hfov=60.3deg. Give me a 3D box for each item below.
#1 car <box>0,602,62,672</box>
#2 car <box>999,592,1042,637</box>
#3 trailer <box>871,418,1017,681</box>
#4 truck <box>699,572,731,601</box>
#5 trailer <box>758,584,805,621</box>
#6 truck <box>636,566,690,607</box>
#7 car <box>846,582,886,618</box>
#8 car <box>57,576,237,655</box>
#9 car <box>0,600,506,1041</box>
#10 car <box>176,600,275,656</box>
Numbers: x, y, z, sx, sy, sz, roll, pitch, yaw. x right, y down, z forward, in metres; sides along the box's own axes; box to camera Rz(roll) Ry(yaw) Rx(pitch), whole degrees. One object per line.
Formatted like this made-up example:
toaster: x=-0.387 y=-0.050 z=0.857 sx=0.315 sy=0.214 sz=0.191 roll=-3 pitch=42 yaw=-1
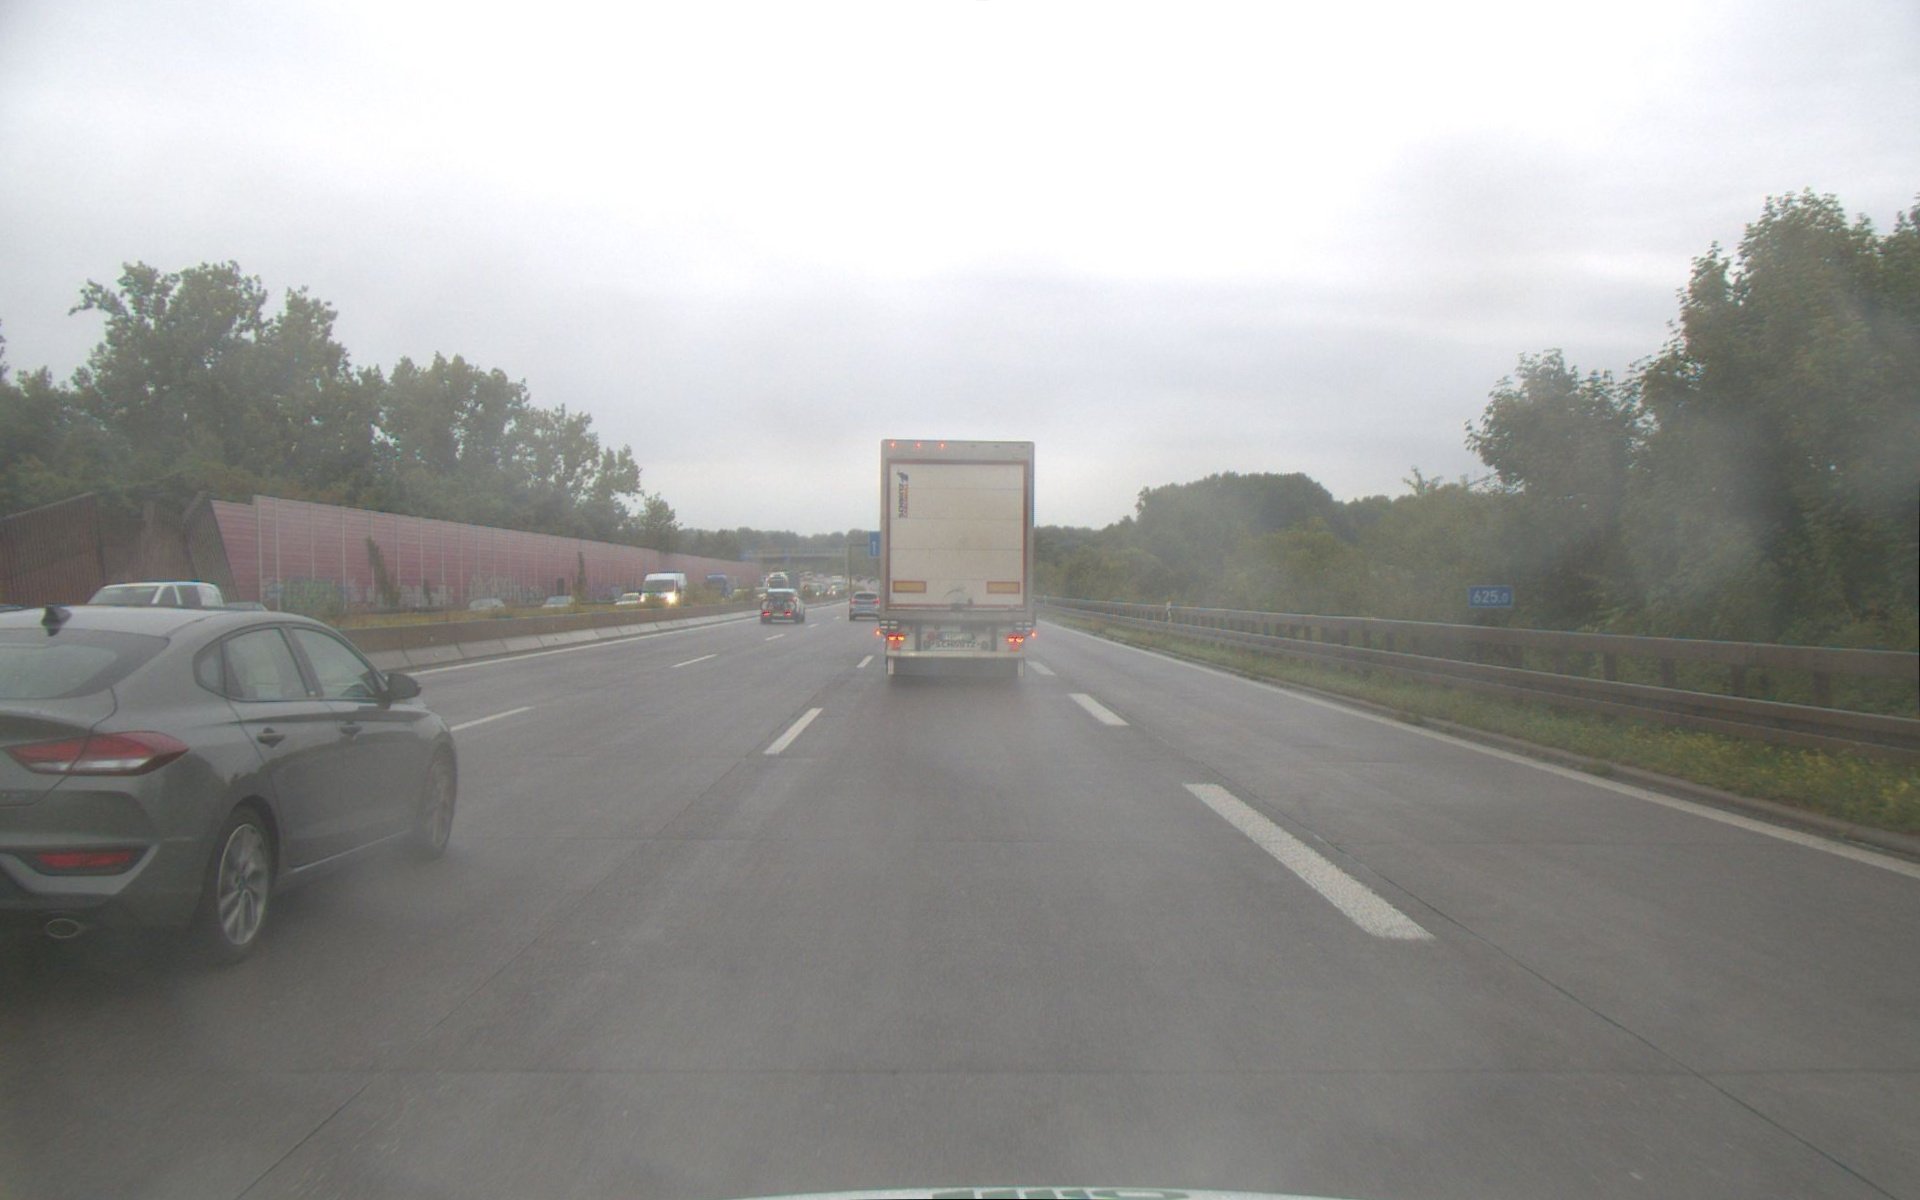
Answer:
car: x=-26.517 y=0.990 z=44.957 sx=1.953 sy=1.816 sz=4.289 roll=0 pitch=0 yaw=-2
car: x=2.814 y=0.658 z=77.787 sx=1.858 sy=1.983 sz=4.000 roll=1 pitch=0 yaw=0
trailer: x=-0.360 y=-0.812 z=34.270 sx=2.295 sy=4.230 sz=14.823 roll=1 pitch=0 yaw=-1
truck: x=-30.062 y=-1.661 z=203.274 sx=2.658 sy=3.409 sz=10.429 roll=1 pitch=0 yaw=-2
trailer: x=-8.244 y=0.080 z=76.698 sx=1.778 sy=1.653 sz=4.567 roll=0 pitch=1 yaw=-1
truck: x=-16.870 y=-0.774 z=94.046 sx=2.101 sy=2.244 sz=5.419 roll=0 pitch=0 yaw=0
car: x=-4.823 y=-0.004 z=85.014 sx=1.855 sy=1.753 sz=3.999 roll=1 pitch=0 yaw=-1
car: x=-19.867 y=0.352 z=40.715 sx=1.953 sy=1.816 sz=5.208 roll=0 pitch=0 yaw=-2
car: x=-3.647 y=0.732 z=7.888 sx=1.690 sy=1.427 sz=4.828 roll=0 pitch=0 yaw=-1
car: x=-27.676 y=1.025 z=62.456 sx=1.953 sy=2.049 sz=4.000 roll=0 pitch=0 yaw=0
